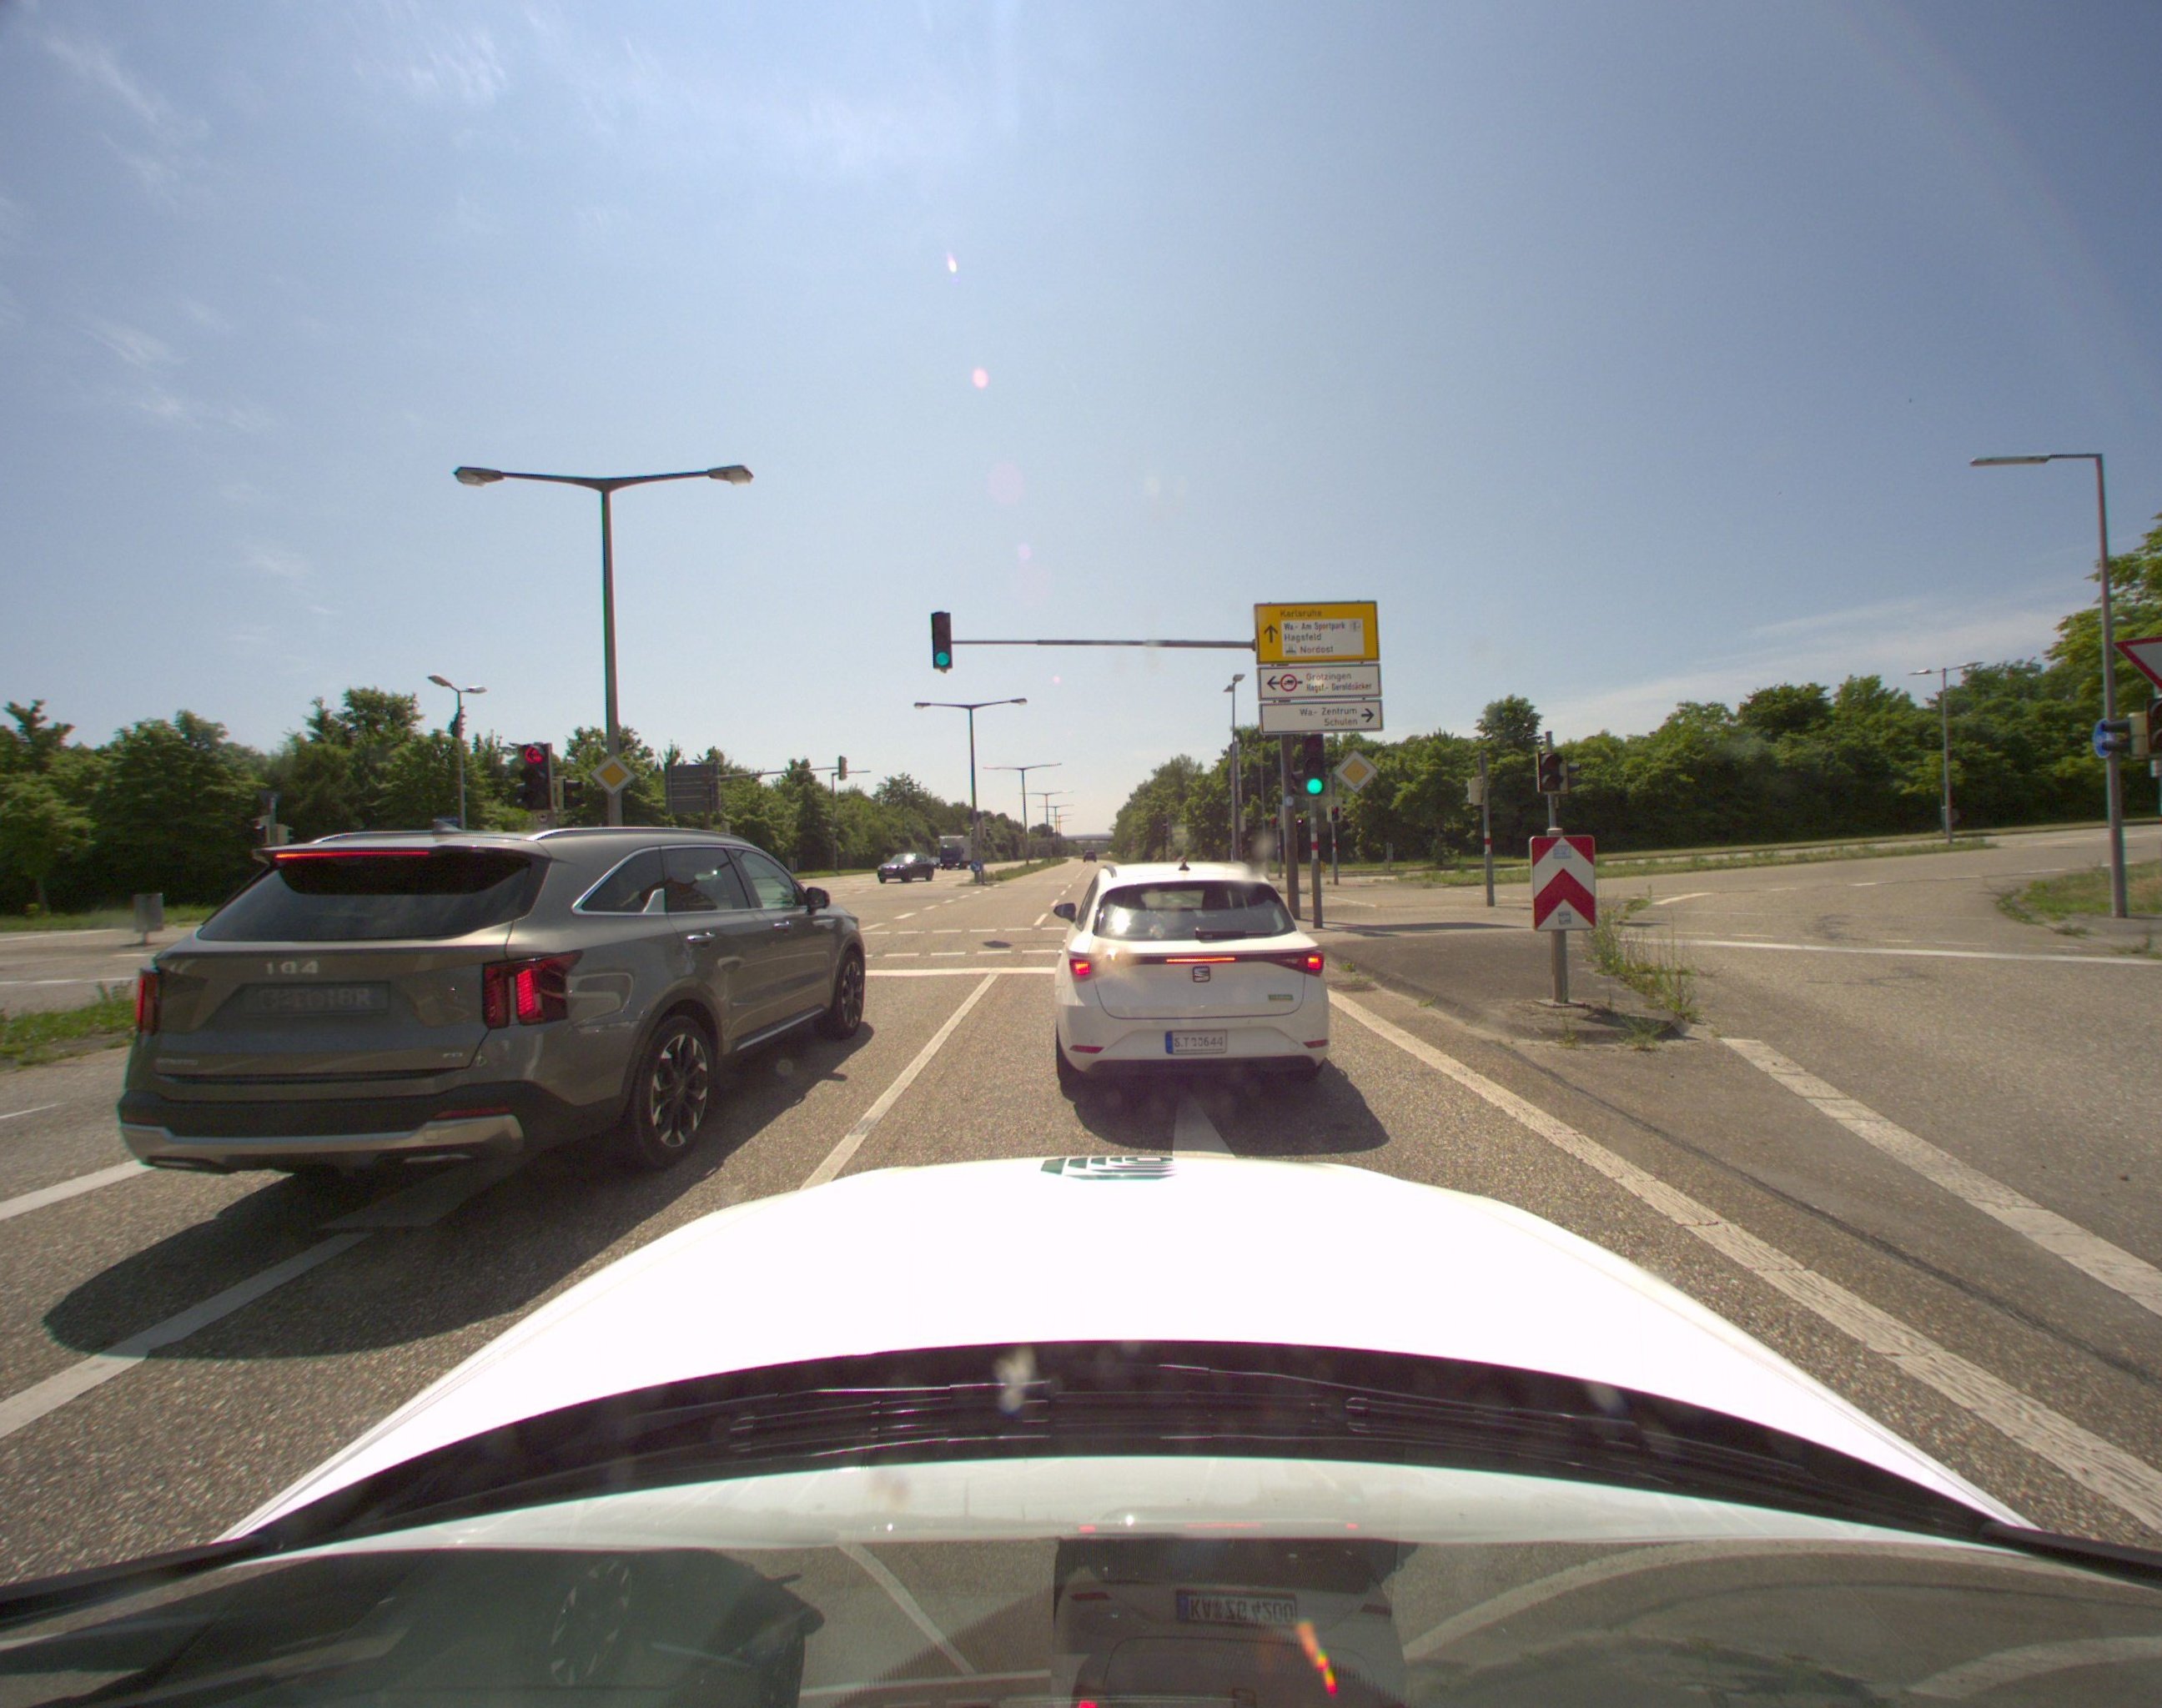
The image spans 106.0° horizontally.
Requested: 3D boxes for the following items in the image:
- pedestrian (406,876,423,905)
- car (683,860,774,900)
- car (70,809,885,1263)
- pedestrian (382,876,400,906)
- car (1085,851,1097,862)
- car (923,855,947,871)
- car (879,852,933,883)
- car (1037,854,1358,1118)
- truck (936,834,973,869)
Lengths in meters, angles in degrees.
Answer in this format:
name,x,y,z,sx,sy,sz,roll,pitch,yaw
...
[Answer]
name,x,y,z,sx,sy,sz,roll,pitch,yaw
pedestrian,-36.701,2.000,44.868,0.620,1.503,0.790,-2,0,-34
car,-14.655,1.030,34.133,1.816,1.455,4.170,-2,0,2
car,-2.850,0.692,5.402,1.797,1.662,4.646,-2,0,2
pedestrian,-37.552,2.013,44.341,0.620,1.603,0.790,-2,0,-34
car,1.563,0.390,129.869,1.848,1.709,4.000,-2,0,1
car,-17.197,1.001,96.115,1.816,1.732,4.928,-2,0,2
car,-10.253,0.769,48.049,1.697,1.663,4.232,-2,0,8
car,0.690,0.737,6.284,1.728,1.428,3.696,0,-1,2
truck,-13.648,-0.229,88.489,2.677,3.570,7.269,-2,0,1
